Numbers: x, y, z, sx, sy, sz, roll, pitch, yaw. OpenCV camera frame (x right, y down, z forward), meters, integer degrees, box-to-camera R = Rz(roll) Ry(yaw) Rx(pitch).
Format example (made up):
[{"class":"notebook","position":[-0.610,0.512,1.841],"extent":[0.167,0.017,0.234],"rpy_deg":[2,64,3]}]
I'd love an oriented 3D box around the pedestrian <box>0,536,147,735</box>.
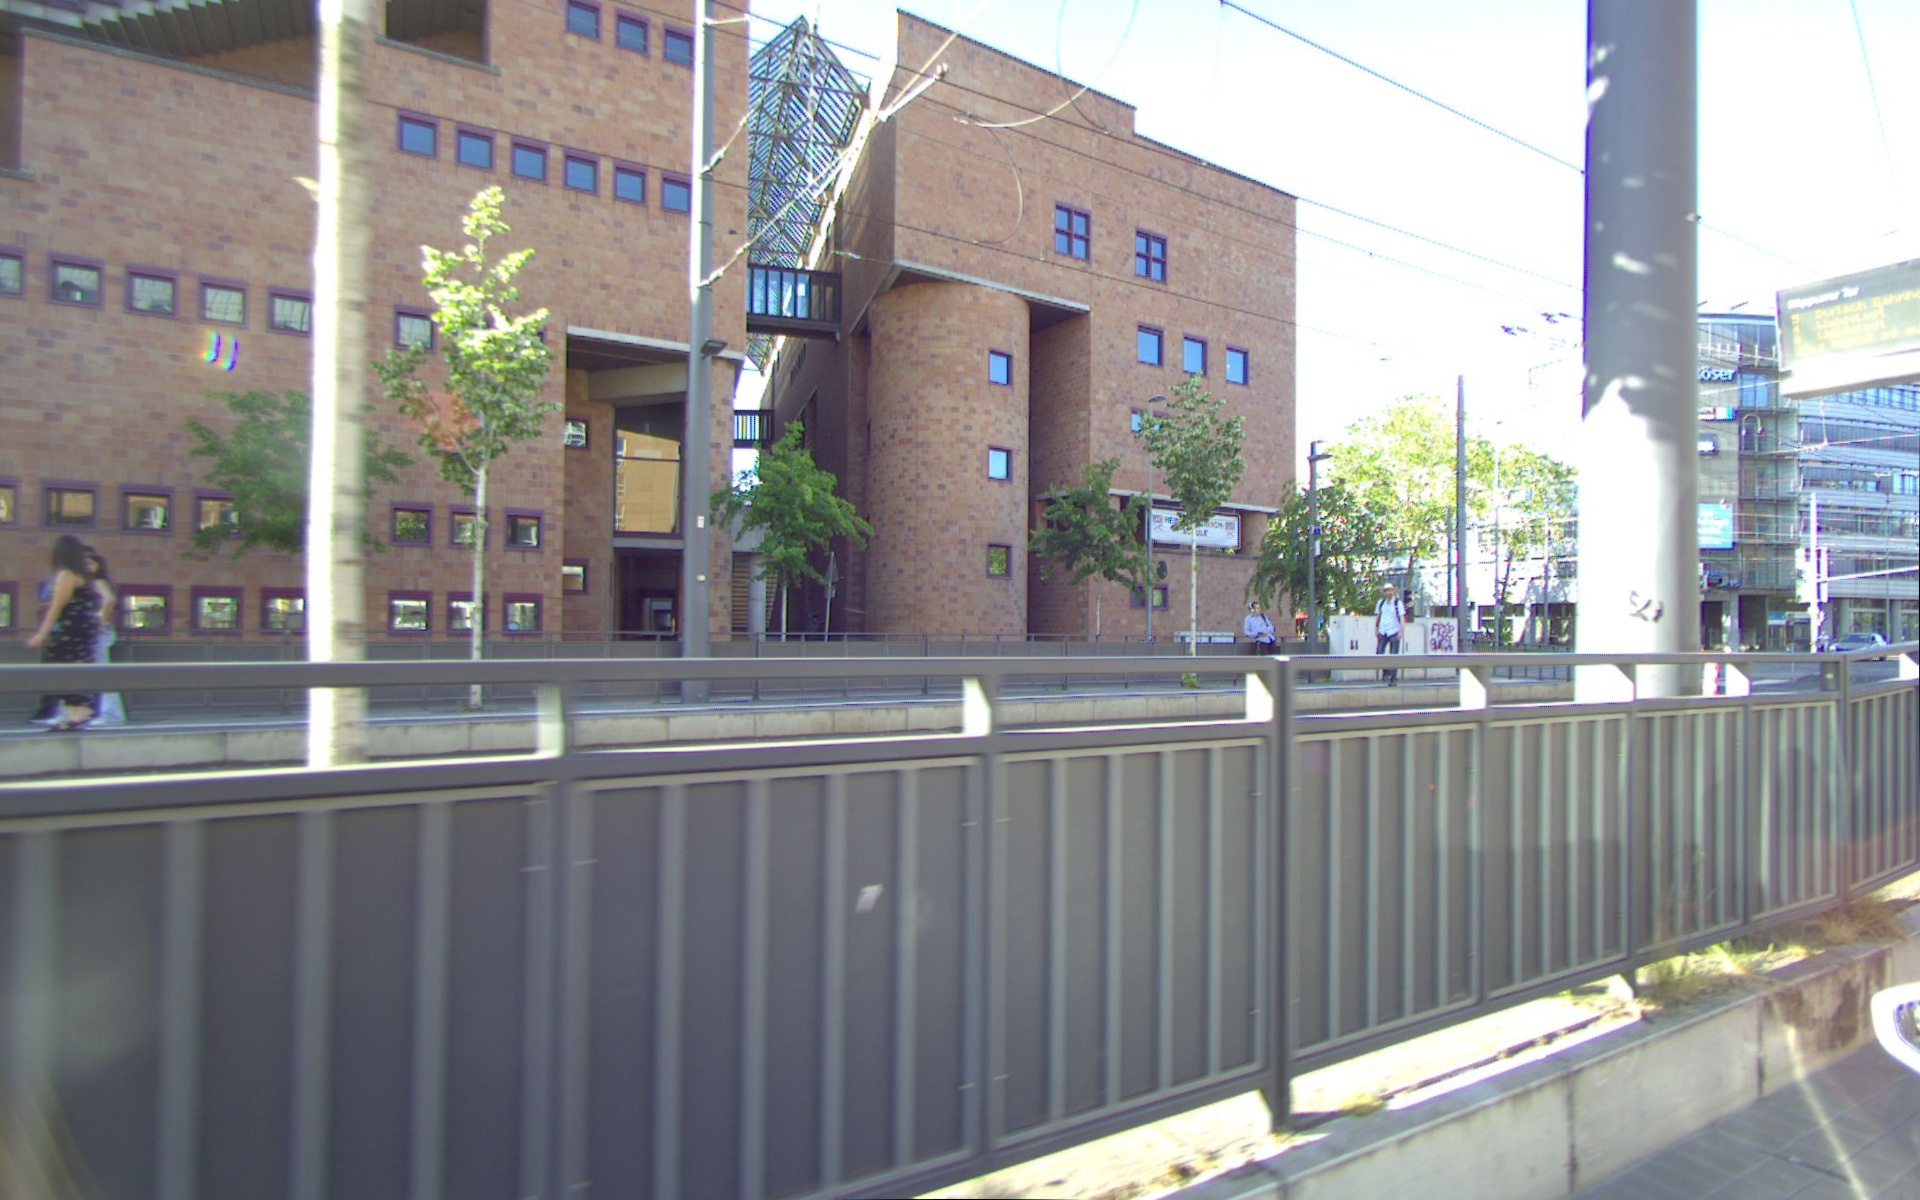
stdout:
[{"class":"pedestrian","position":[-7.836,0.299,8.845],"extent":[0.934,1.665,0.637],"rpy_deg":[1,1,-30]}]

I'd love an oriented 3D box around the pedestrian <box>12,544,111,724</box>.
[{"class":"pedestrian","position":[-9.097,0.337,10.194],"extent":[0.608,1.761,0.579],"rpy_deg":[1,0,-30]}]

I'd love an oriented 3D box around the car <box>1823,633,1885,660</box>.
[{"class":"car","position":[51.564,2.651,57.926],"extent":[3.964,1.483,1.979],"rpy_deg":[2,-1,-38]}]

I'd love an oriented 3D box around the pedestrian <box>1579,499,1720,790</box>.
[{"class":"pedestrian","position":[4.246,0.263,6.194],"extent":[0.543,1.691,0.517],"rpy_deg":[1,0,-30]}]

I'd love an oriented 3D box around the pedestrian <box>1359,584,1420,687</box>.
[{"class":"pedestrian","position":[7.944,0.650,18.590],"extent":[0.886,1.841,0.611],"rpy_deg":[1,0,-30]}]

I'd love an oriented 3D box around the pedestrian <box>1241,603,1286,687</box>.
[{"class":"pedestrian","position":[6.000,0.879,19.878],"extent":[0.608,1.630,0.561],"rpy_deg":[1,0,-30]}]

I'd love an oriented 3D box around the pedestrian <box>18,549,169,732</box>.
[{"class":"pedestrian","position":[-8.112,0.366,9.447],"extent":[0.934,1.629,0.637],"rpy_deg":[1,1,-30]}]
